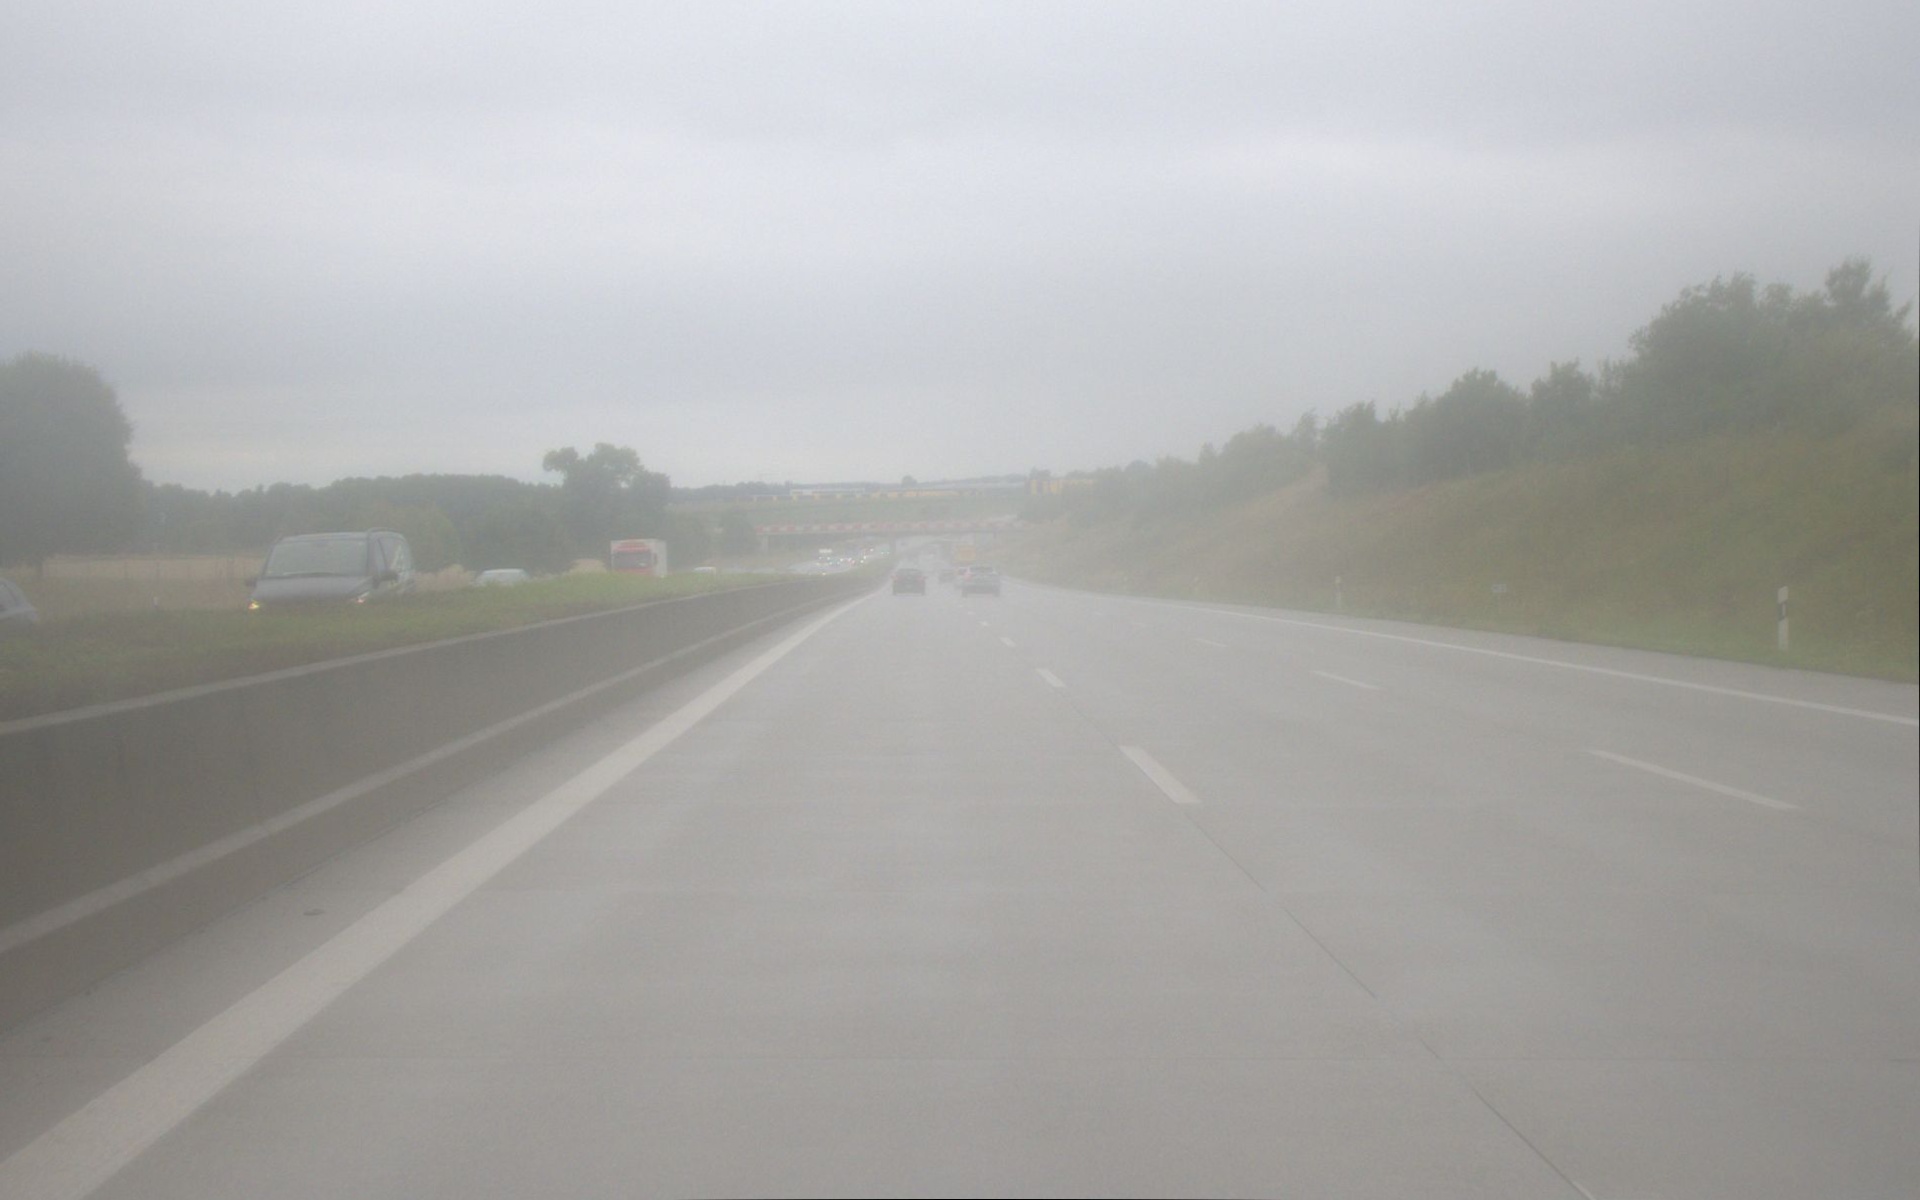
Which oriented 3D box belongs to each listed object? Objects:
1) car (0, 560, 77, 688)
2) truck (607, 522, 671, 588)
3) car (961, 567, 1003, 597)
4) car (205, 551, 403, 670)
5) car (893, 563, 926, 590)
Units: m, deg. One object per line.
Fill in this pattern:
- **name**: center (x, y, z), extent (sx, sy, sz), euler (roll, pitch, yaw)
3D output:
- **car**: center (-12.593, 0.284, 43.014), extent (1.993, 1.538, 4.560), euler (-1, 1, -1)
- **truck**: center (-19.408, -2.799, 208.612), extent (2.903, 3.842, 12.451), euler (-1, 1, -1)
- **car**: center (1.077, -0.913, 170.888), extent (1.847, 1.326, 4.430), euler (0, 2, -2)
- **car**: center (-9.261, 0.109, 48.910), extent (1.993, 1.538, 4.560), euler (-2, 1, -1)
- **car**: center (-2.667, -1.252, 182.034), extent (1.729, 1.326, 4.430), euler (0, 2, 0)
